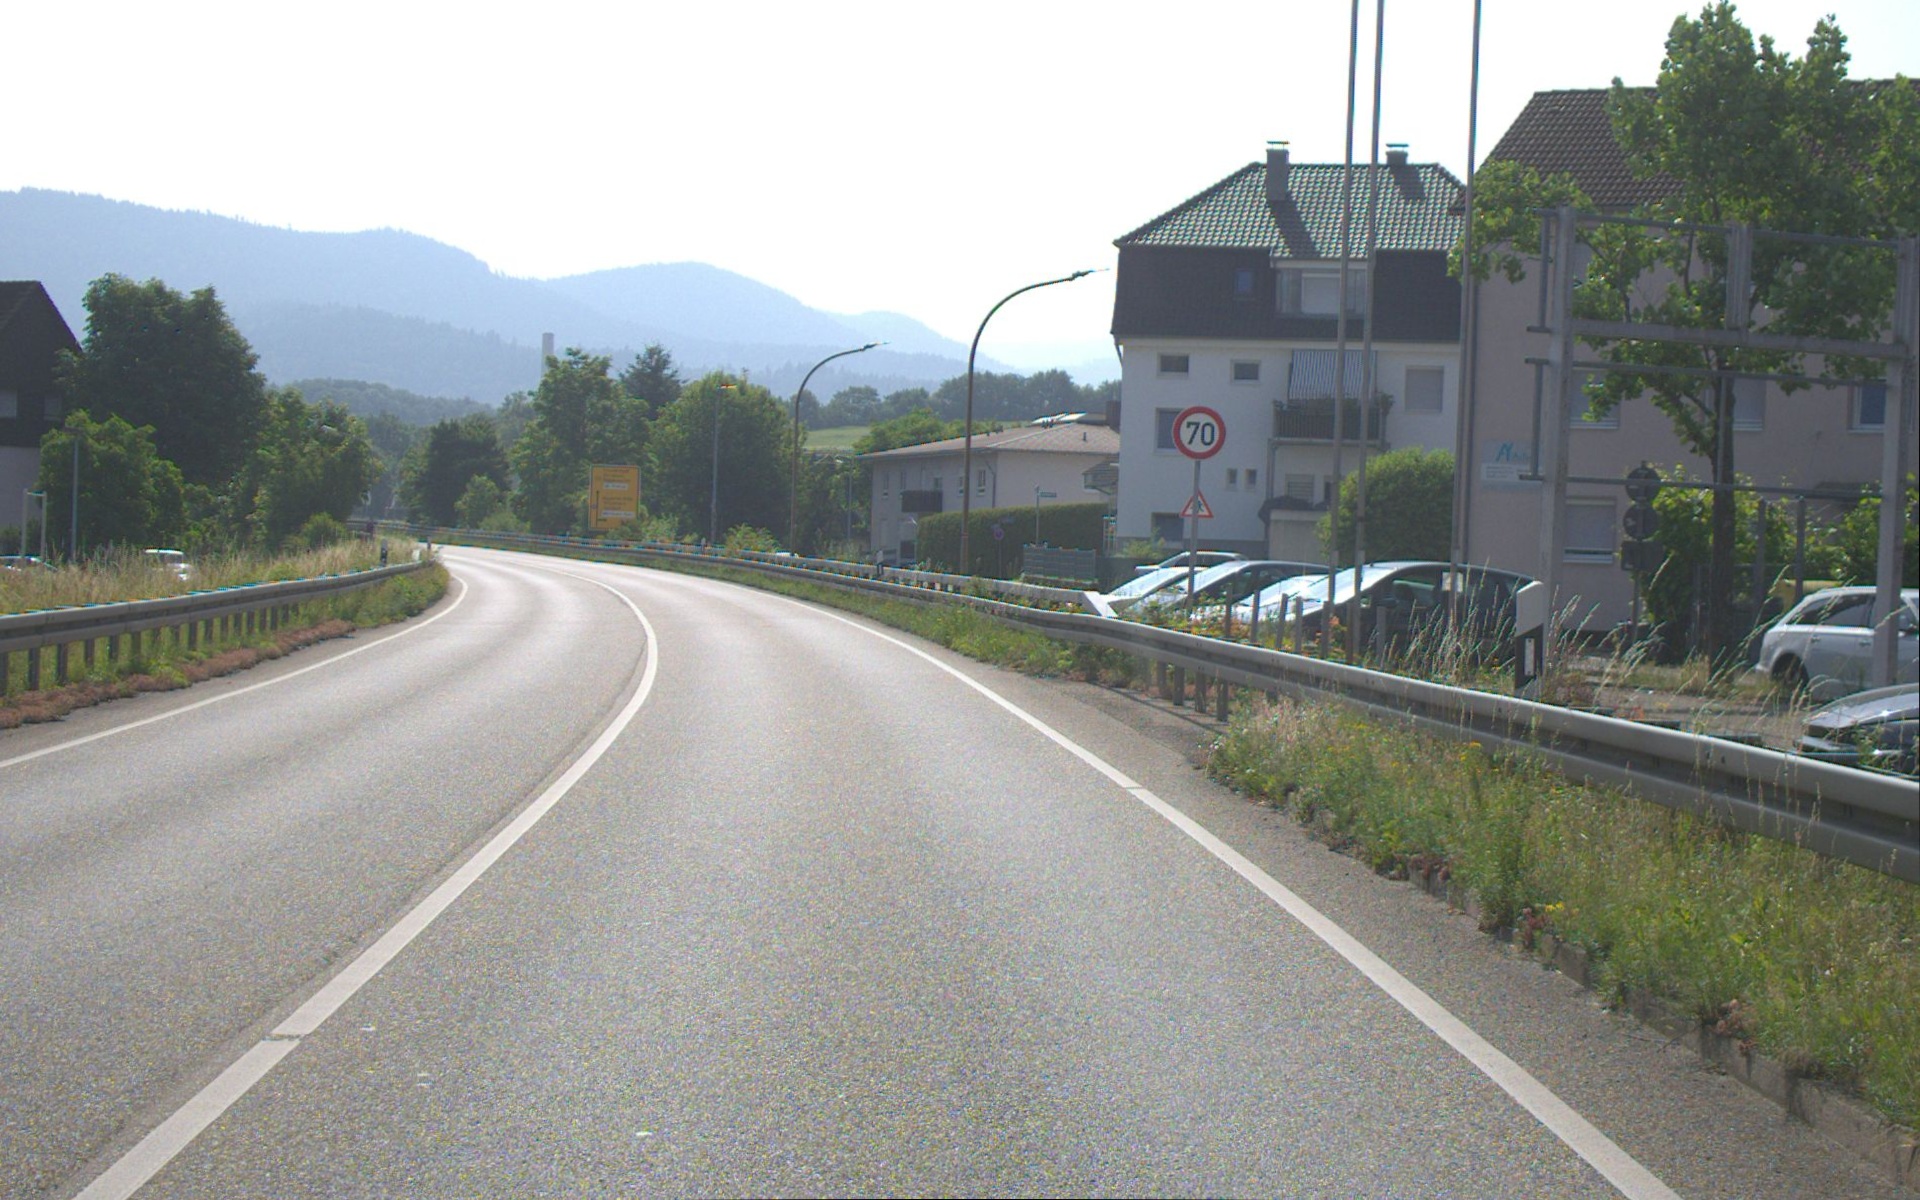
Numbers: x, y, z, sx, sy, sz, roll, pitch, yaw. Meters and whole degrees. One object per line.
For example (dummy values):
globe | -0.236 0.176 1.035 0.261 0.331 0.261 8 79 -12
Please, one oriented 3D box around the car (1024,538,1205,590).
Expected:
car | 4.201 -0.985 93.428 4.601 1.343 1.753 1 2 20

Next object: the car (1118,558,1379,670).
car | 4.055 0.199 48.445 3.262 1.372 1.550 4 -1 -16

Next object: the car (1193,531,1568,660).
car | 4.996 -0.050 40.908 4.056 1.447 1.729 1 0 -19

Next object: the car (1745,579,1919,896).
car | 6.216 0.735 17.151 4.150 1.478 1.882 3 1 2

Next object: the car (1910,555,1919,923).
car | 6.420 0.661 14.313 4.319 1.634 2.140 1 0 1

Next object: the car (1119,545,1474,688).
car | 4.209 0.203 43.208 3.985 1.444 1.765 5 0 -14

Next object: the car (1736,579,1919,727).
car | 10.156 0.548 36.214 1.783 1.415 4.440 1 1 -19

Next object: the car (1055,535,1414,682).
car | 3.620 0.106 45.608 4.232 1.567 1.919 5 -1 -16
